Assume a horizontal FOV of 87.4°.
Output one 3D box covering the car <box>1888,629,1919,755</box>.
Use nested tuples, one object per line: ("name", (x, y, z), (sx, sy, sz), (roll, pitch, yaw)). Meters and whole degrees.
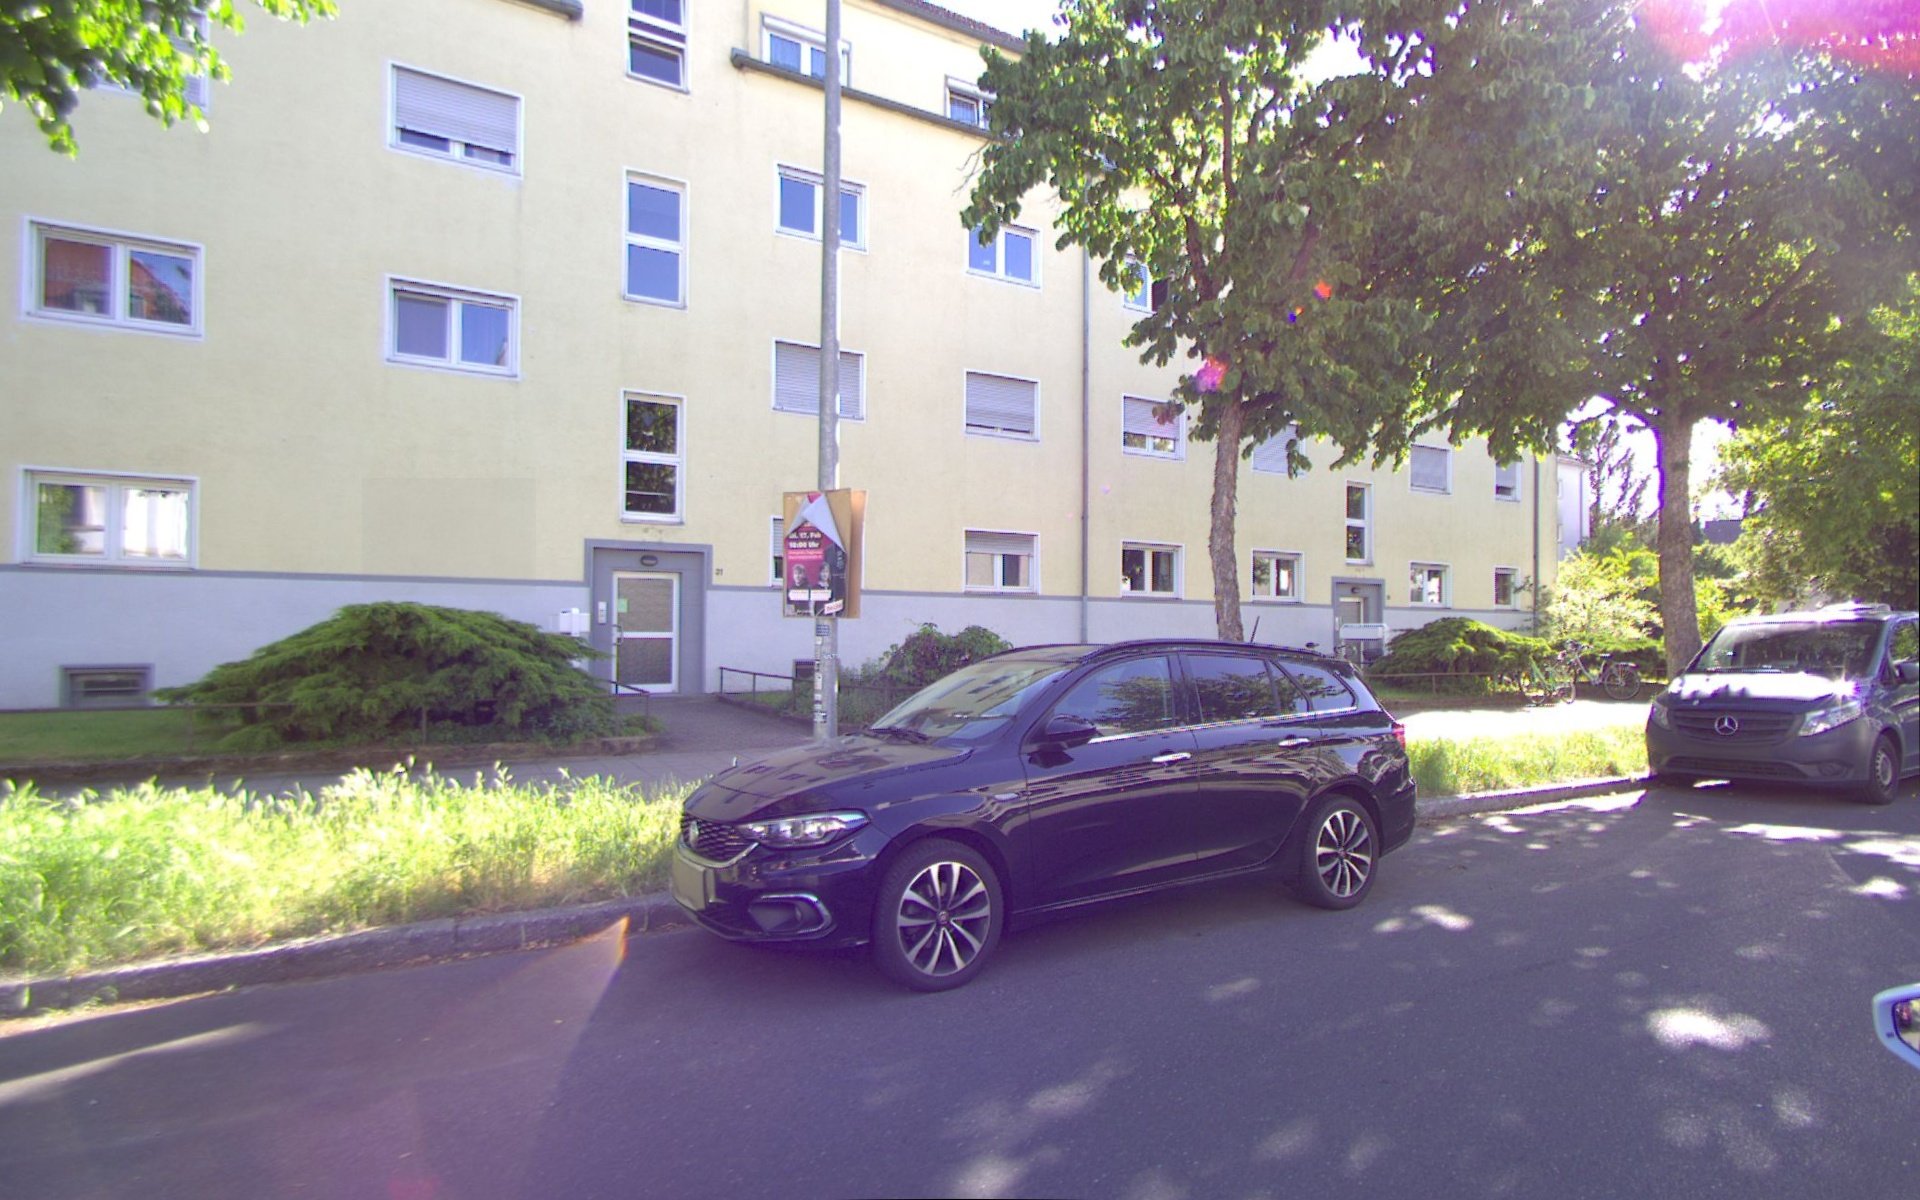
("car", (14.503, 1.229, 13.755), (4.184, 1.632, 1.603), (2, -3, -33))

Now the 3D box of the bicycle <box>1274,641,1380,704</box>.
("bicycle", (6.150, 1.193, 16.803), (1.905, 1.004, 0.592), (1, -2, -30))

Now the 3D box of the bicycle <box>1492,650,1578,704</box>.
("bicycle", (11.283, 1.488, 19.680), (1.905, 1.004, 0.592), (1, -2, -30))

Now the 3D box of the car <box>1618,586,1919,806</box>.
("car", (9.504, 0.945, 10.898), (5.080, 1.929, 1.818), (1, -3, -30))

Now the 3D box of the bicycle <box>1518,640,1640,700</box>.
("bicycle", (13.372, 1.492, 21.761), (0.685, 1.224, 2.127), (2, -3, -40))

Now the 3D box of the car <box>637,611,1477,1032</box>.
("car", (0.770, 0.932, 5.650), (4.723, 1.568, 1.500), (2, -4, -31))
